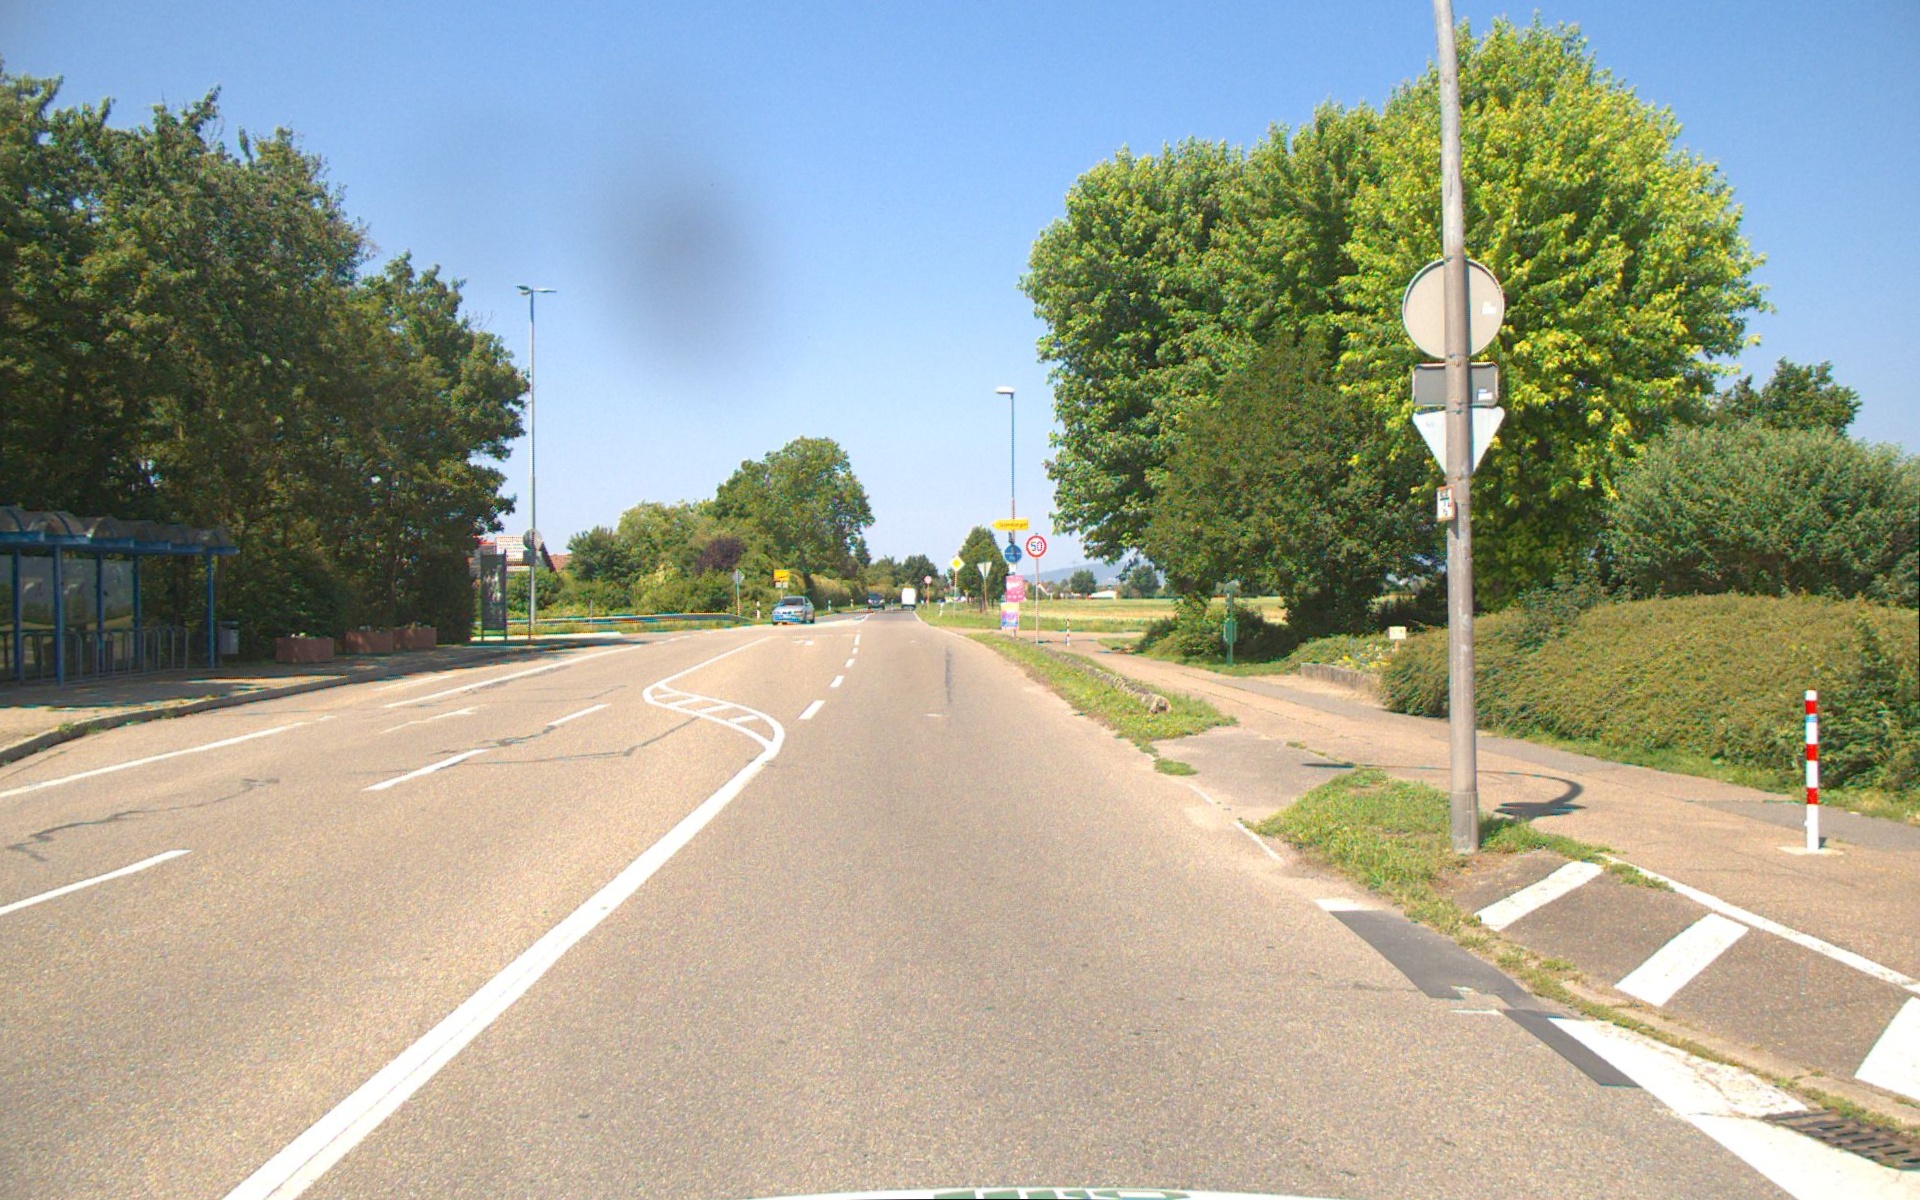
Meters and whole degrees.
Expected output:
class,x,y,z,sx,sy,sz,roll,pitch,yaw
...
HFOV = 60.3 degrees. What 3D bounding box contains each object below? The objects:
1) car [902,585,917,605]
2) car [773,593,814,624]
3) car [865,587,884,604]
class,x,y,z,sx,sy,sz,roll,pitch,yaw
car,-6.969,-0.704,226.176,1.954,2.697,3.998,-1,0,-3
car,-8.537,0.430,84.975,1.602,1.496,4.416,-1,0,1
car,-10.227,-0.512,197.682,2.101,1.985,5.246,-1,0,-1
